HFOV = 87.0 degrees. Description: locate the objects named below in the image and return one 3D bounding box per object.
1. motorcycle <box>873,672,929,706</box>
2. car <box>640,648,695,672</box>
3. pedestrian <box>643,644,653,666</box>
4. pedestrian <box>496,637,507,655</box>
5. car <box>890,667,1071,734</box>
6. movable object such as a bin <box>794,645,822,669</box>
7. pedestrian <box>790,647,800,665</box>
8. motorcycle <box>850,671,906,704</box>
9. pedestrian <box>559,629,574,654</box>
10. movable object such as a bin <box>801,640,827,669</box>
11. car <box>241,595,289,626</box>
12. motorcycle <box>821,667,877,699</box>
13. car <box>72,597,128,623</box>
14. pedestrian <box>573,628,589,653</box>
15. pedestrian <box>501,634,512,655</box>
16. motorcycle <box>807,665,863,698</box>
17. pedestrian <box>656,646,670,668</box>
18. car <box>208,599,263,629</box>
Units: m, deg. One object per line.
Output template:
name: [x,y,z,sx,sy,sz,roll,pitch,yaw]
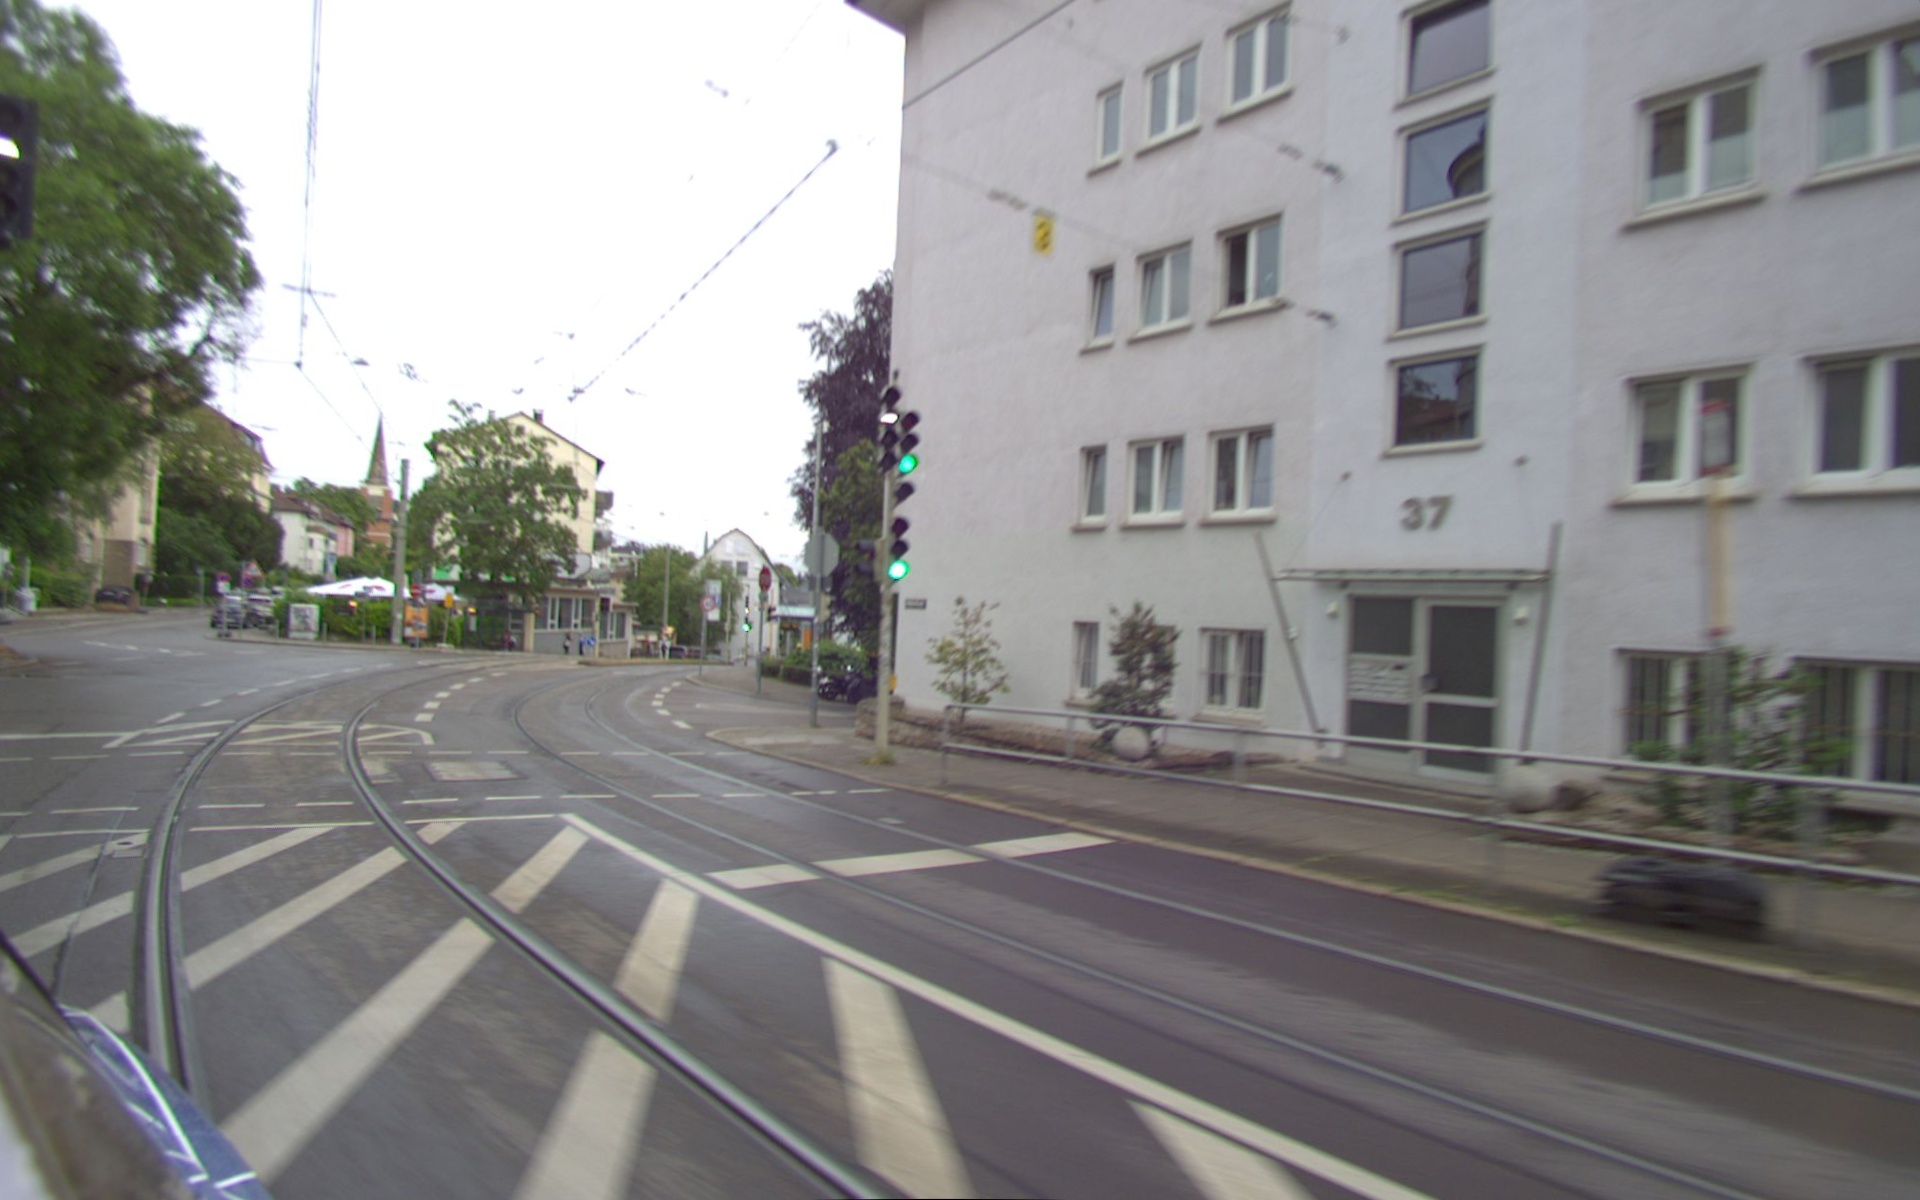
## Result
motorcycle: [-1.894,2.892,32.721,0.485,1.057,2.094,-3,-7,41]
car: [-26.474,5.424,91.693,4.290,1.686,1.777,5,-6,6]
pedestrian: [-24.848,4.402,80.561,0.572,1.727,0.614,1,-5,0]
pedestrian: [-25.968,2.596,57.295,0.321,1.002,0.317,5,-5,0]
car: [0.562,2.422,24.347,4.186,1.466,1.858,6,-7,-41]
movable object such as a bin: [-7.406,2.781,49.319,1.011,1.147,1.340,0,-5,5]
pedestrian: [-14.818,5.022,90.923,0.664,1.560,0.770,3,-5,3]
motorcycle: [-2.687,2.888,33.383,0.485,1.057,2.094,-3,-7,41]
pedestrian: [-25.094,2.647,64.519,0.540,1.565,0.558,4,-5,1]
movable object such as a bin: [-7.676,2.884,53.191,1.011,1.445,1.425,0,-5,5]
car: [-42.438,0.687,61.857,1.664,1.703,3.816,5,-3,-25]
motorcycle: [-3.746,2.834,34.413,0.485,1.057,2.094,-3,-7,41]
car: [-55.239,0.670,65.060,1.572,1.351,3.646,3,-5,-22]
pedestrian: [-24.201,2.591,64.620,0.582,1.565,0.649,4,-5,3]
pedestrian: [-25.814,2.537,57.629,0.321,1.159,0.317,5,-5,0]
motorcycle: [-4.304,2.825,34.970,0.485,1.057,2.094,-2,-6,41]
pedestrian: [-24.445,4.722,83.289,0.714,1.727,0.606,3,-5,13]
car: [-39.702,0.794,55.542,1.664,1.453,3.816,5,-3,-25]
